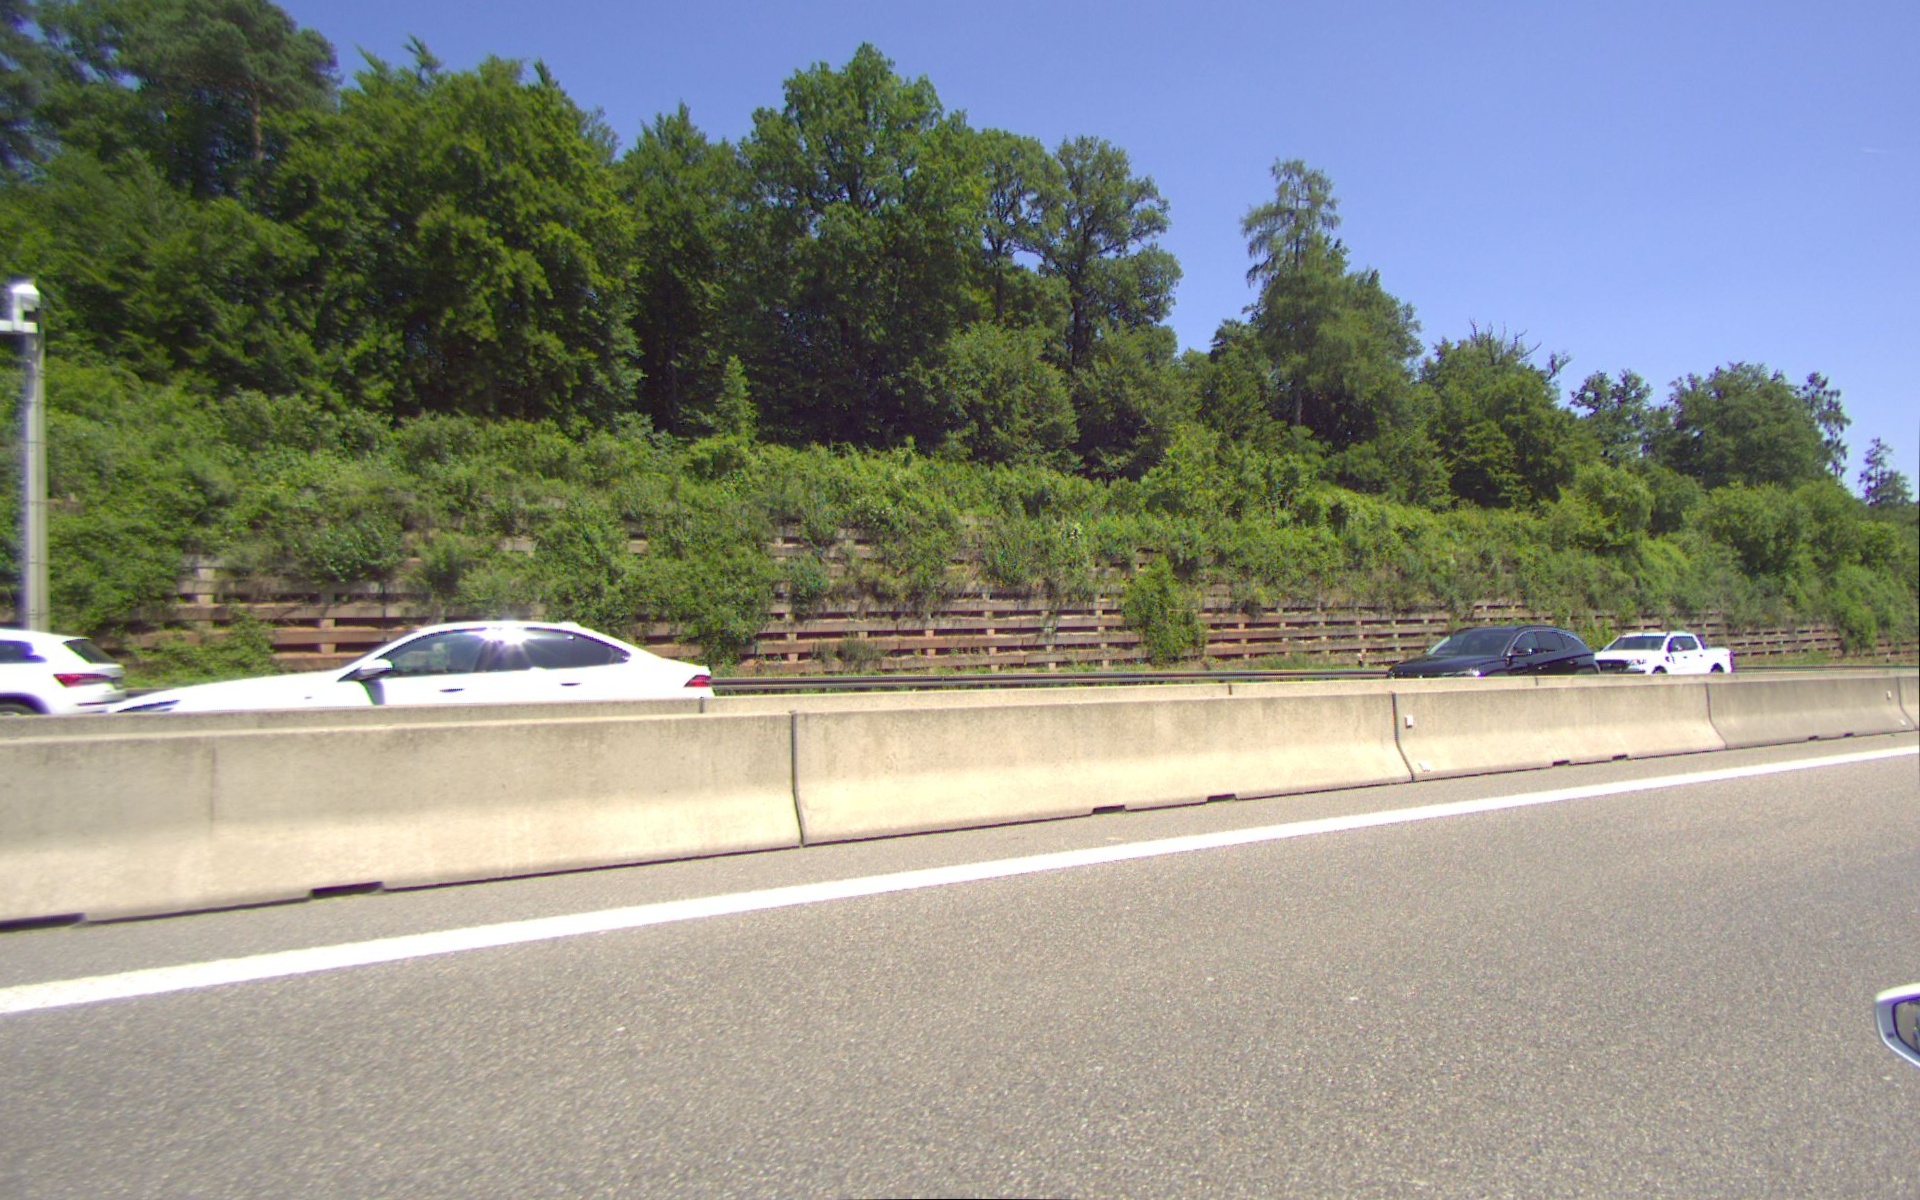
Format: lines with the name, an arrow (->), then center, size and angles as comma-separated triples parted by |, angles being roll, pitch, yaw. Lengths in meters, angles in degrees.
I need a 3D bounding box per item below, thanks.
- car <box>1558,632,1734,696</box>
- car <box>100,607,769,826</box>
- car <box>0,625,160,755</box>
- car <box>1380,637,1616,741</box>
car -> 19.373, 1.766, 28.293 | 5.583, 1.659, 1.874 | 1, -3, -31
car -> -4.617, 0.961, 9.617 | 5.165, 1.626, 1.931 | 1, -3, -31
car -> -13.472, 1.137, 12.832 | 4.804, 1.626, 1.931 | 1, -3, -31
car -> 9.600, 1.499, 17.860 | 4.253, 1.659, 1.745 | 1, -3, -31
